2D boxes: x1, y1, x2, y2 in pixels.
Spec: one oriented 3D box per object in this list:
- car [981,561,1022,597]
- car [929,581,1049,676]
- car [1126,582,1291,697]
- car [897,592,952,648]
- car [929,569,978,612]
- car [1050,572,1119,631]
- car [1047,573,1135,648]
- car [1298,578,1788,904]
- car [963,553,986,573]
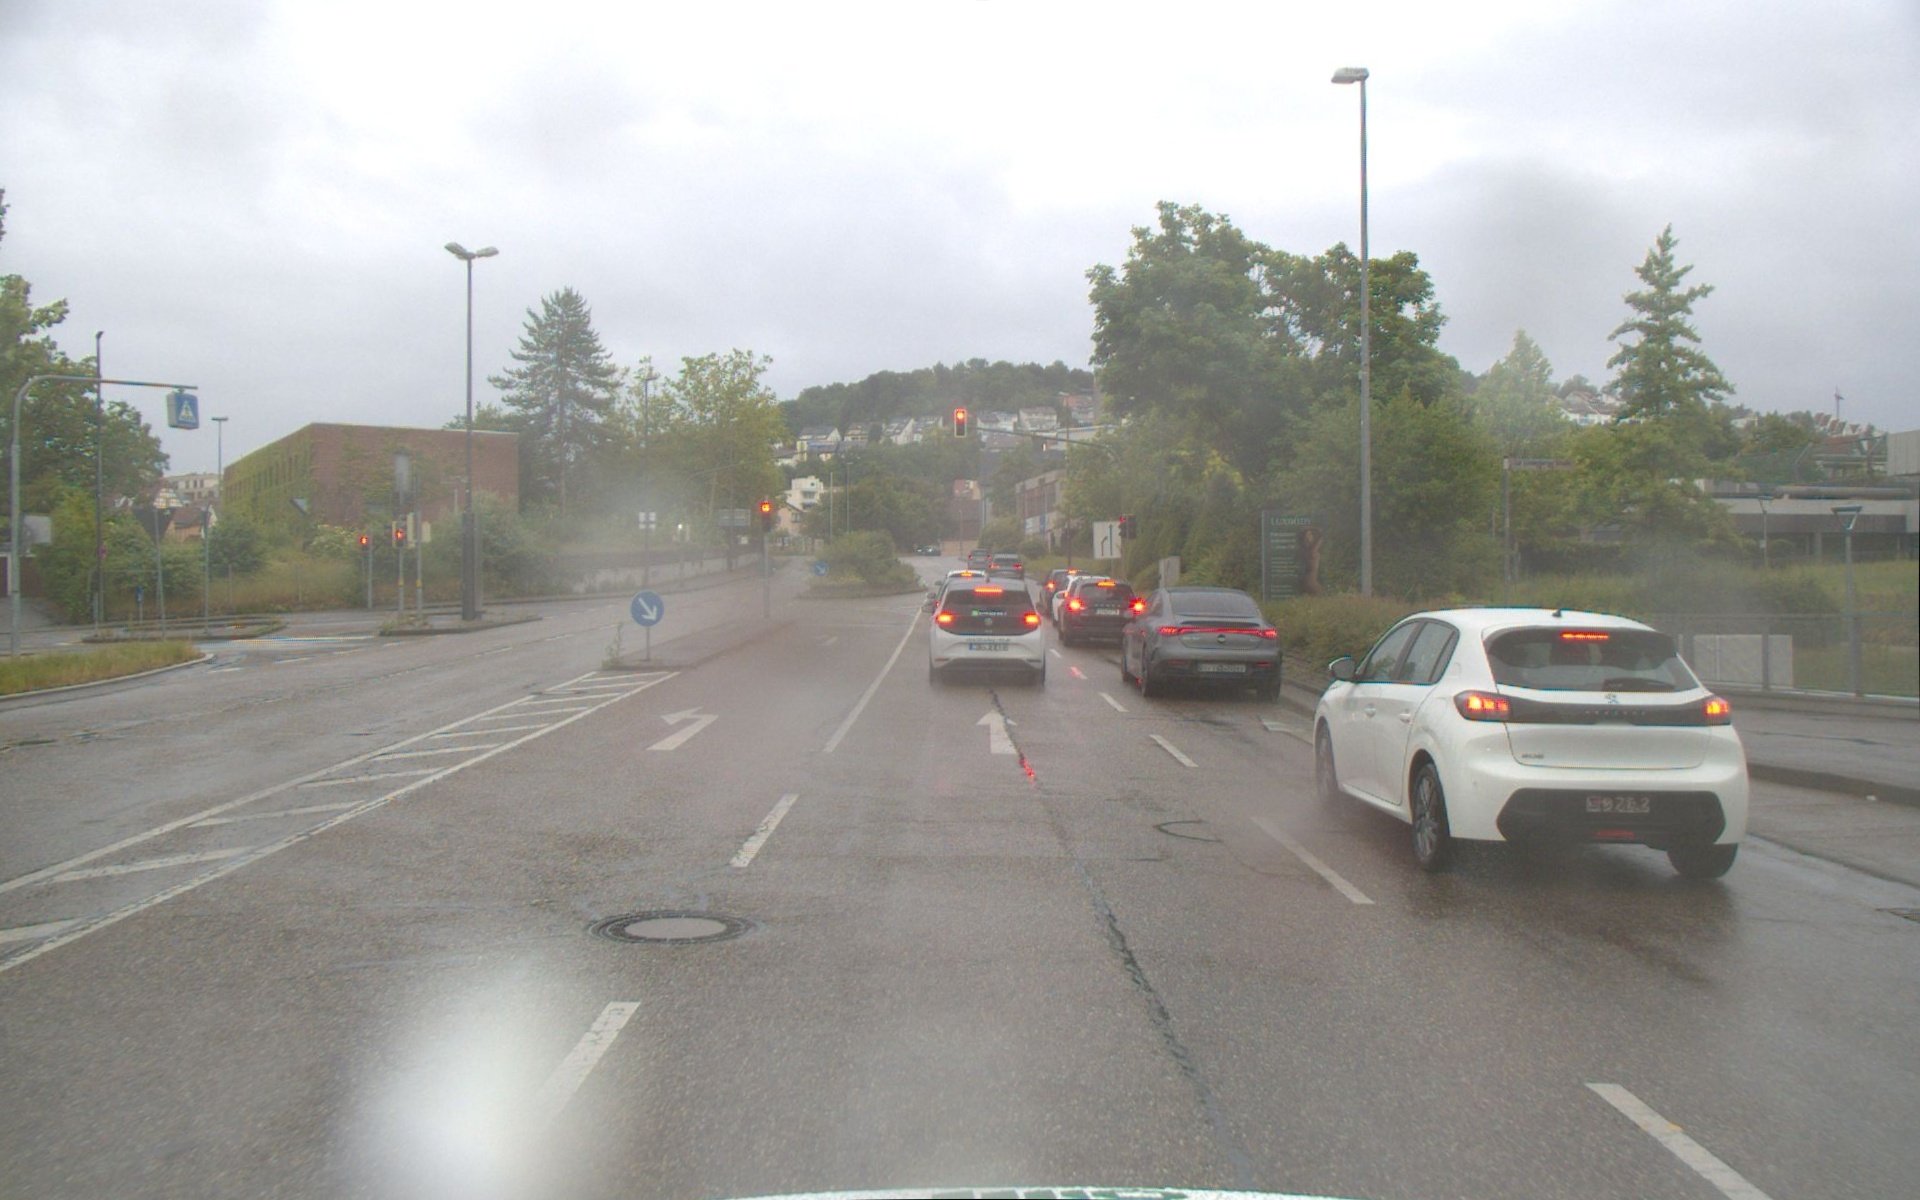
[{"bbox_3d":[2.093,-1.072,84.737,1.759,1.596,3.523,-2,-2,-4],"label":"car"},{"bbox_3d":[0.437,0.448,25.462,1.705,1.318,3.334,-2,-1,1],"label":"car"},{"bbox_3d":[3.441,0.502,23.462,1.699,1.412,3.351,1,2,-2],"label":"car"},{"bbox_3d":[-0.805,0.476,37.358,1.188,1.176,2.269,-1,-2,-1],"label":"car"},{"bbox_3d":[-0.174,-0.279,49.997,1.356,1.146,2.610,-2,-2,1],"label":"car"},{"bbox_3d":[3.357,0.075,45.067,1.533,1.422,3.956,-2,-2,0],"label":"car"},{"bbox_3d":[2.876,0.278,36.918,1.614,1.511,3.365,-2,-2,-1],"label":"car"},{"bbox_3d":[3.400,0.700,10.468,1.656,1.545,3.933,0,2,-1],"label":"car"},{"bbox_3d":[0.970,-2.498,112.876,1.339,1.177,2.424,-1,-2,-4],"label":"car"}]
